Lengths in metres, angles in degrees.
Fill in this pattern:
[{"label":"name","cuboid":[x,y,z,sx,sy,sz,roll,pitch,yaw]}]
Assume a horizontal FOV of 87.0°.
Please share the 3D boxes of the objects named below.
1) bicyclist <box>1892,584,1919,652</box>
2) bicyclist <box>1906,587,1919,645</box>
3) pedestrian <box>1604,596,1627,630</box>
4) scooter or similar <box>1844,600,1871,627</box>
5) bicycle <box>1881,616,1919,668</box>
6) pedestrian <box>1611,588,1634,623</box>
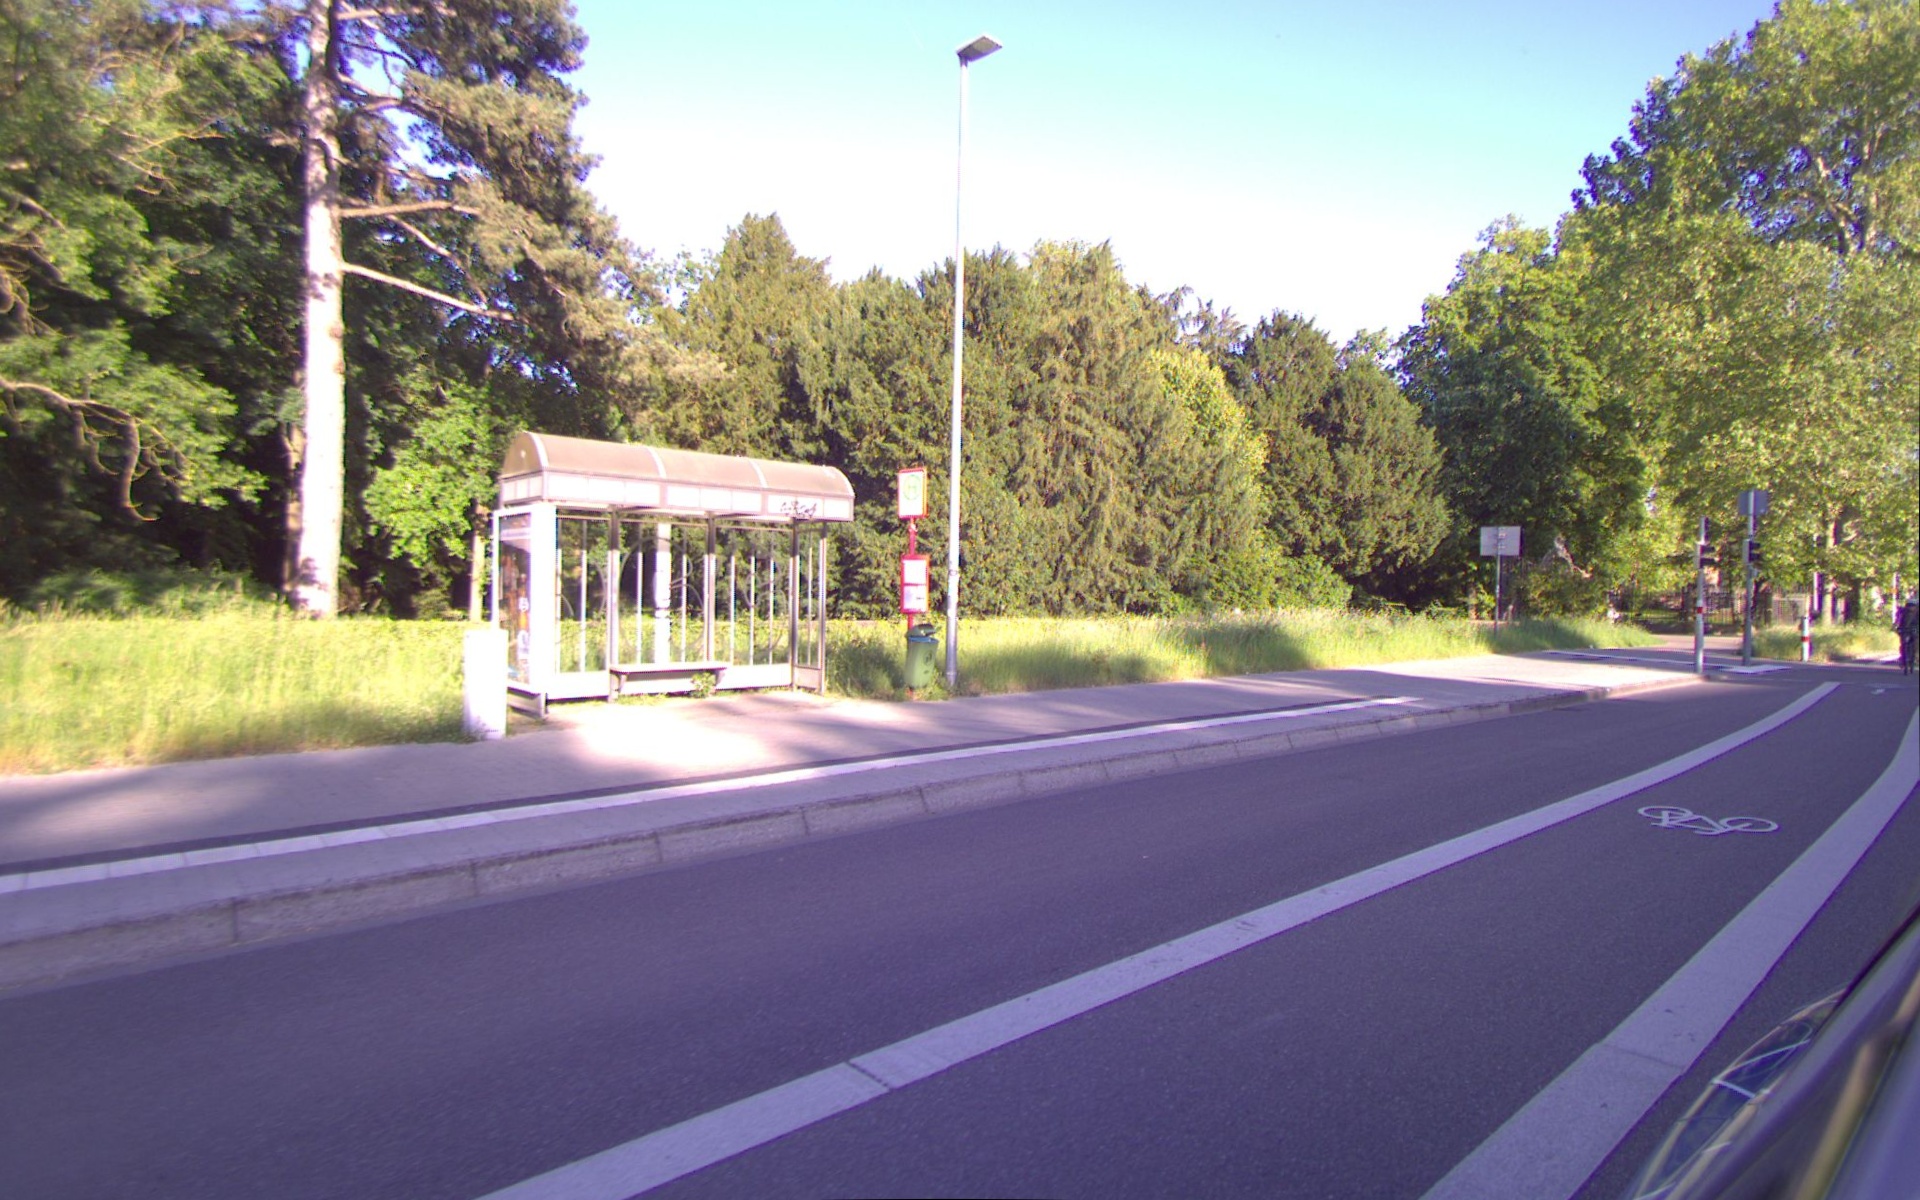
[{"label":"bicyclist","cuboid":[21.879,0.409,23.086,0.785,1.509,0.696,1,1,-32]},{"label":"bicyclist","cuboid":[25.418,0.414,26.667,0.693,1.520,0.878,1,1,44]},{"label":"pedestrian","cuboid":[31.237,0.614,48.258,0.667,1.565,0.692,1,1,-34]},{"label":"scooter or similar","cuboid":[45.733,0.665,51.570,1.805,1.270,0.794,0,5,-43]},{"label":"bicycle","cuboid":[21.863,0.937,23.102,2.094,1.109,0.696,0,1,-32]},{"label":"pedestrian","cuboid":[31.502,0.257,48.150,0.667,1.654,0.692,1,0,-34]}]
